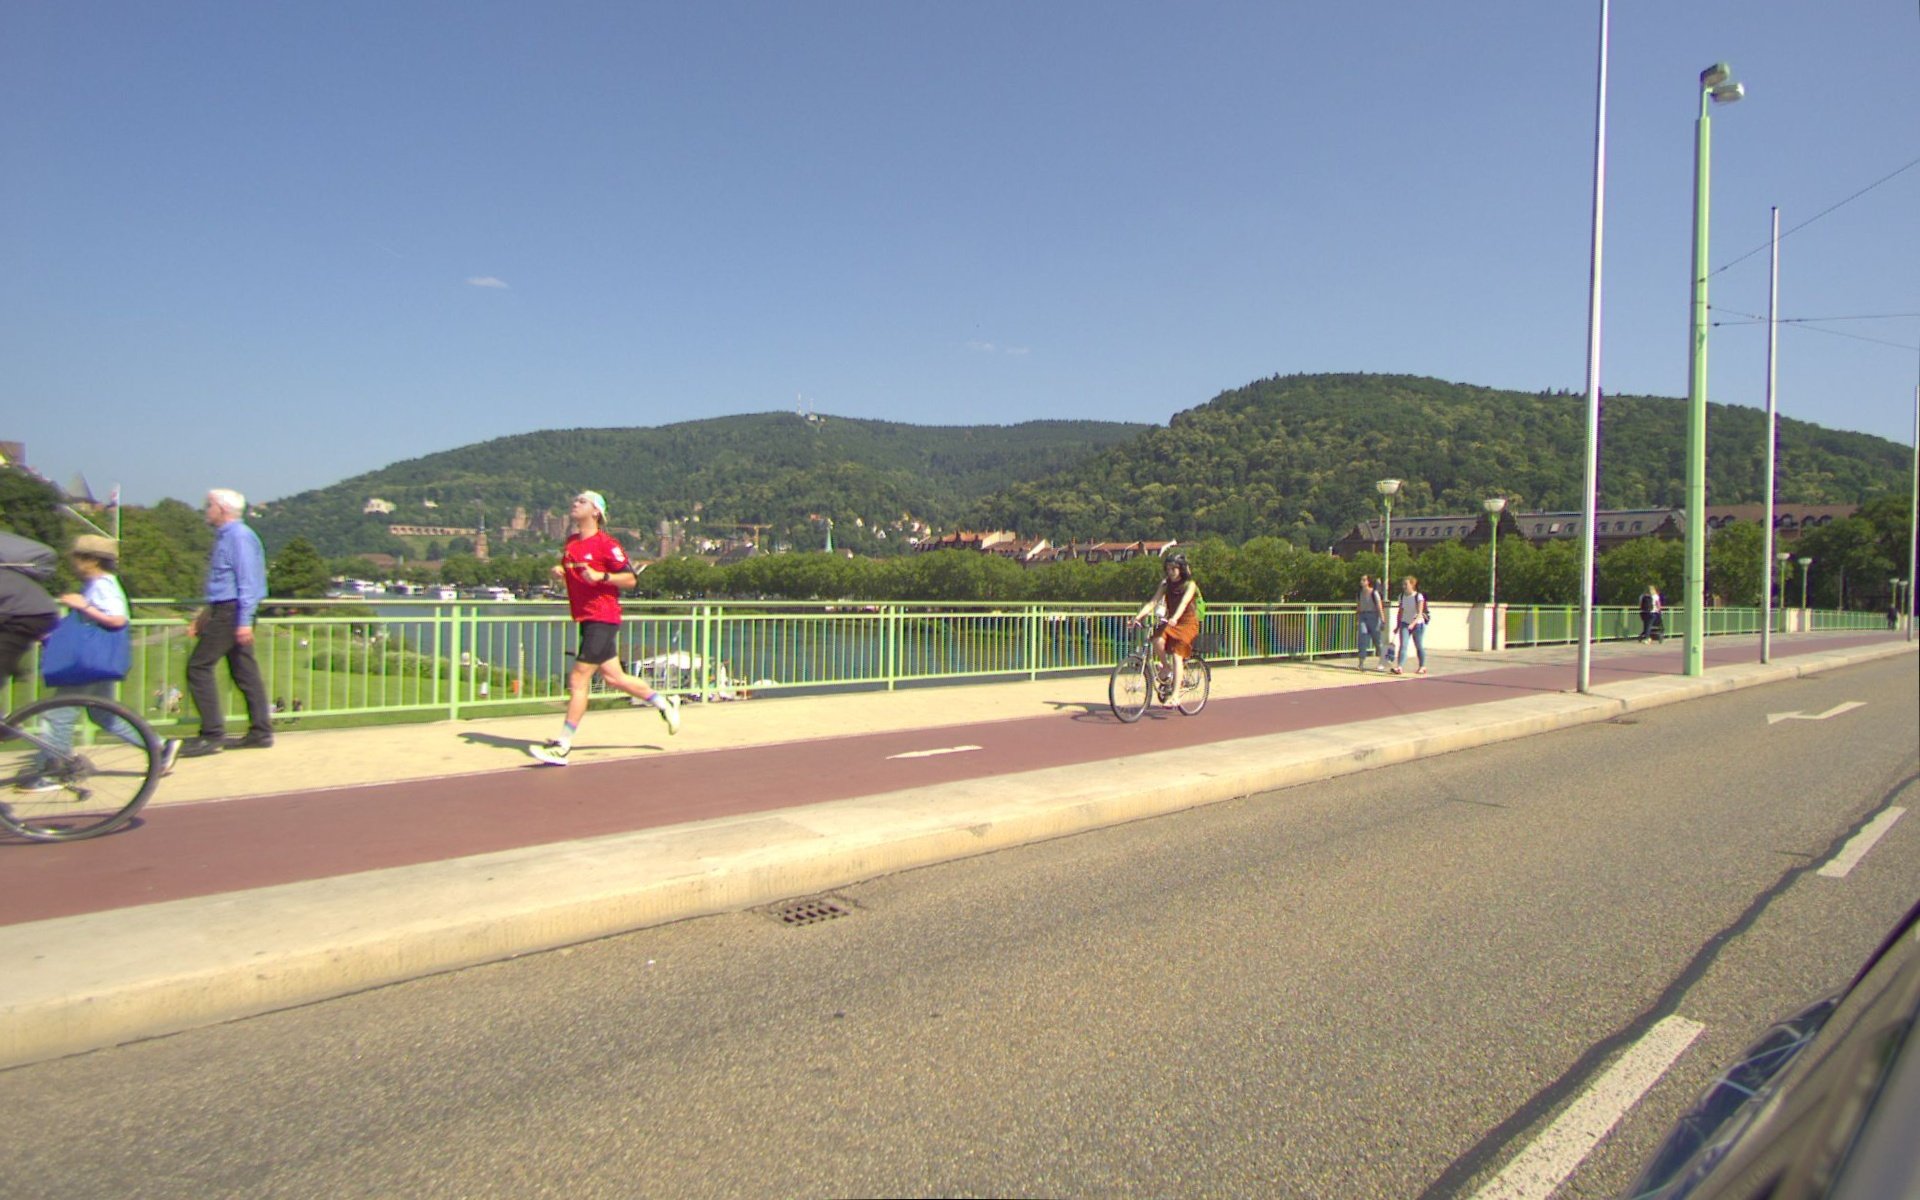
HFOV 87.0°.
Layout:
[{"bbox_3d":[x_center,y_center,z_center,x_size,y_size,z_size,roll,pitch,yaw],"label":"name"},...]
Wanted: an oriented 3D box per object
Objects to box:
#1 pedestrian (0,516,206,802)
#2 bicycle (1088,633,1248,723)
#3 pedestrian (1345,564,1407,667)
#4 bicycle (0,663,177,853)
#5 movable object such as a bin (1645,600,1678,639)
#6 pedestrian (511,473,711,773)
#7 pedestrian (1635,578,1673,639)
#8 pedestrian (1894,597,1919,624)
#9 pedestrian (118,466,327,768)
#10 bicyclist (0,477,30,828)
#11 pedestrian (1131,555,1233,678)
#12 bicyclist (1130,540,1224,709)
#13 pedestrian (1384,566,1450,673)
[{"bbox_3d":[-5.124,0.300,6.054,0.917,1.548,0.831,0,2,-41],"label":"pedestrian"},{"bbox_3d":[2.162,0.765,10.387,1.834,0.775,0.595,0,2,-41],"label":"bicycle"},{"bbox_3d":[7.034,0.246,17.114,0.733,1.679,0.668,0,2,-41],"label":"pedestrian"},{"bbox_3d":[-4.714,0.742,4.587,1.800,0.775,0.594,0,2,-43],"label":"bicycle"},{"bbox_3d":[20.786,0.574,29.978,0.917,1.104,0.583,0,2,-42],"label":"movable object such as a bin"},{"bbox_3d":[-2.492,0.136,7.239,1.108,1.948,0.812,0,2,-41],"label":"pedestrian"},{"bbox_3d":[20.175,0.241,29.414,0.844,1.727,0.664,0,2,-41],"label":"pedestrian"},{"bbox_3d":[60.249,0.659,64.420,1.063,1.683,0.949,0,2,-41],"label":"pedestrian"},{"bbox_3d":[-5.215,0.095,7.155,1.117,1.921,0.927,0,1,-41],"label":"pedestrian"},{"bbox_3d":[-4.689,0.226,4.583,0.690,1.578,0.587,0,2,-43],"label":"bicyclist"},{"bbox_3d":[3.219,0.211,14.691,1.063,1.683,0.949,0,2,-41],"label":"pedestrian"},{"bbox_3d":[2.231,0.229,10.410,0.689,1.671,0.606,0,2,-40],"label":"bicyclist"},{"bbox_3d":[7.467,0.301,16.549,0.810,1.679,0.664,0,2,-41],"label":"pedestrian"}]
